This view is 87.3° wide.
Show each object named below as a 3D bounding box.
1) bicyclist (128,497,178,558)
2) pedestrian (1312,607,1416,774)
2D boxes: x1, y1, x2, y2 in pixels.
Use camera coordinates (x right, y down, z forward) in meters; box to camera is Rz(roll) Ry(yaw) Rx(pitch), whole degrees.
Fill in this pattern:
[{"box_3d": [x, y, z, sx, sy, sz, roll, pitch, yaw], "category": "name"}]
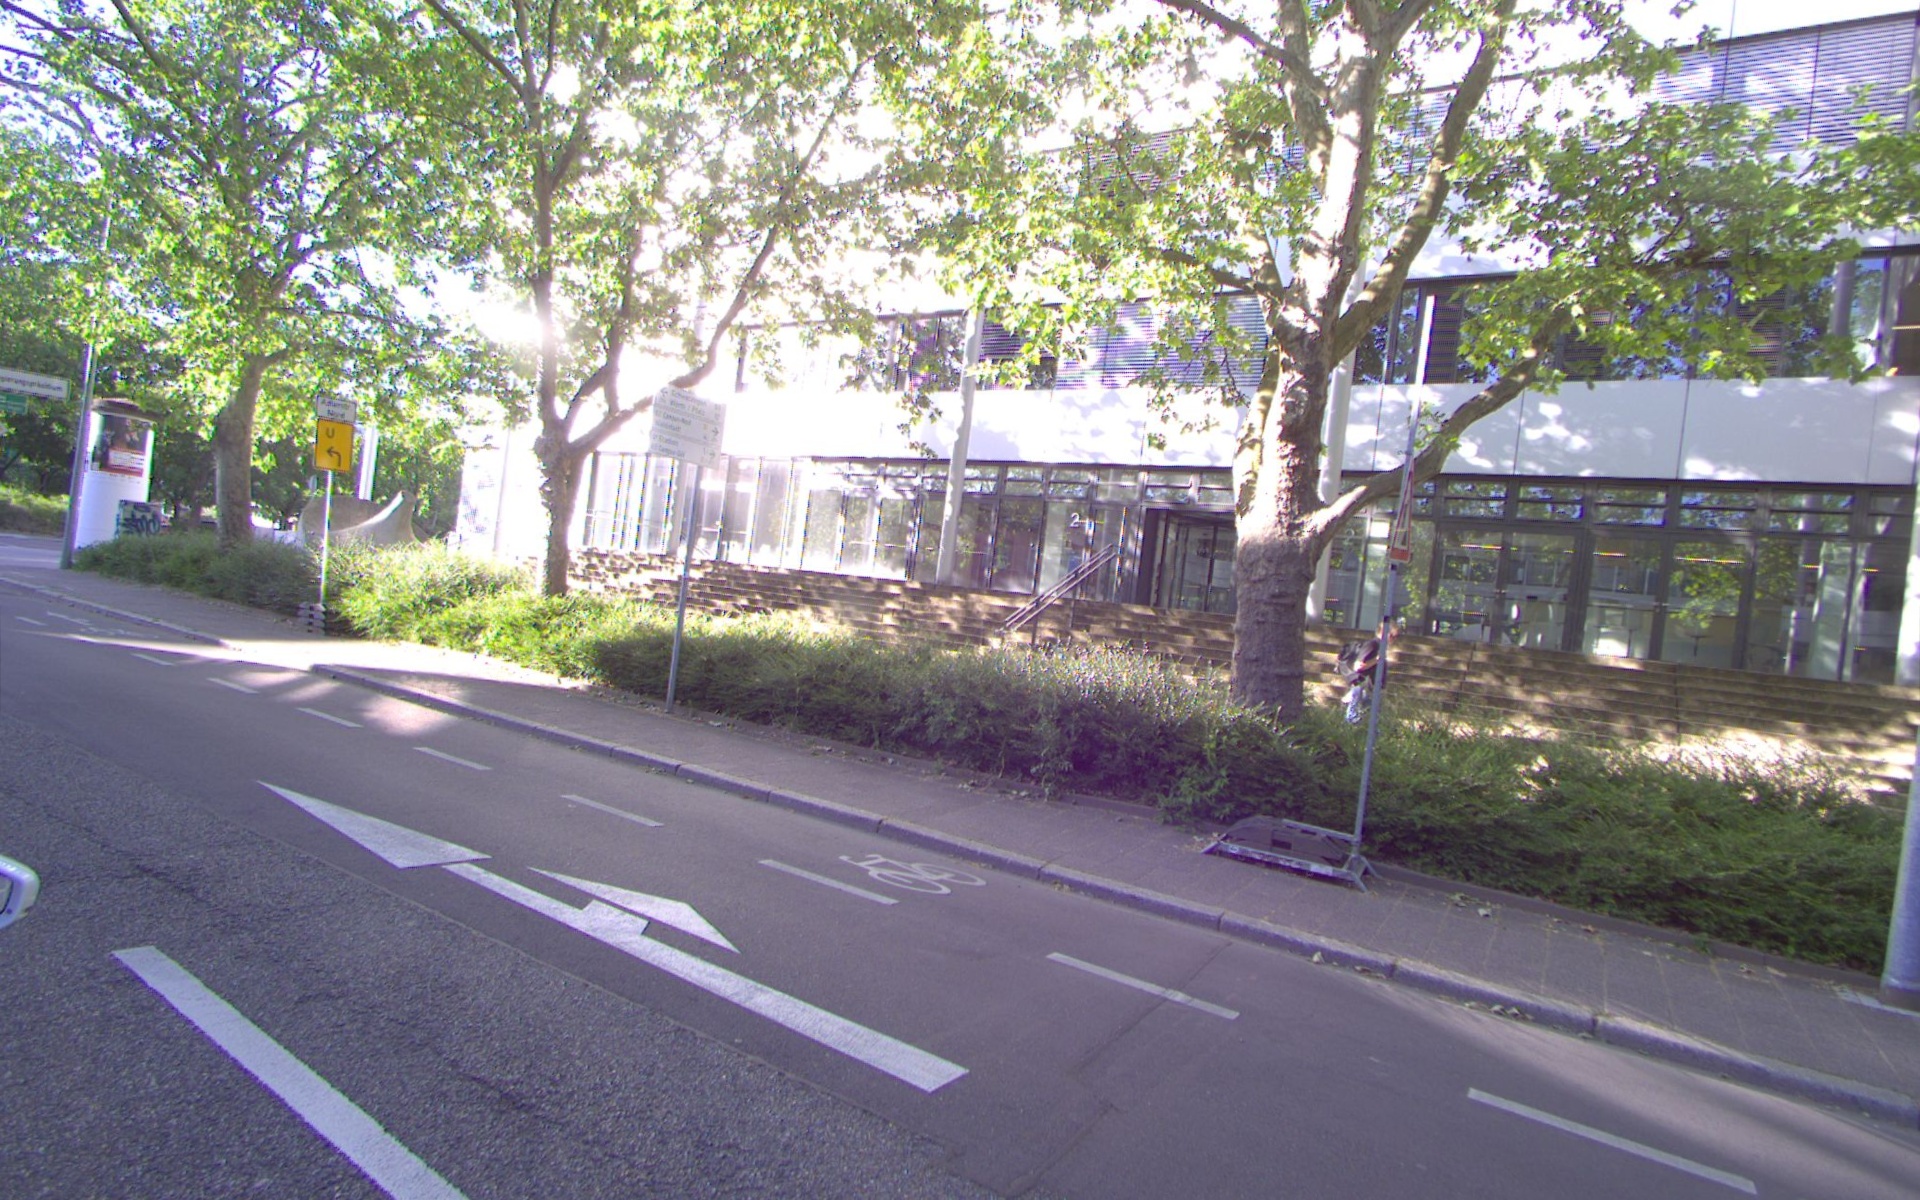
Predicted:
[{"box_3d": [-23.039, -2.066, 28.712, 0.921, 1.601, 0.717, 6, -1, 33], "category": "bicyclist"}, {"box_3d": [4.776, 1.054, 11.873, 0.848, 1.802, 0.785, 7, 0, 30], "category": "pedestrian"}]
